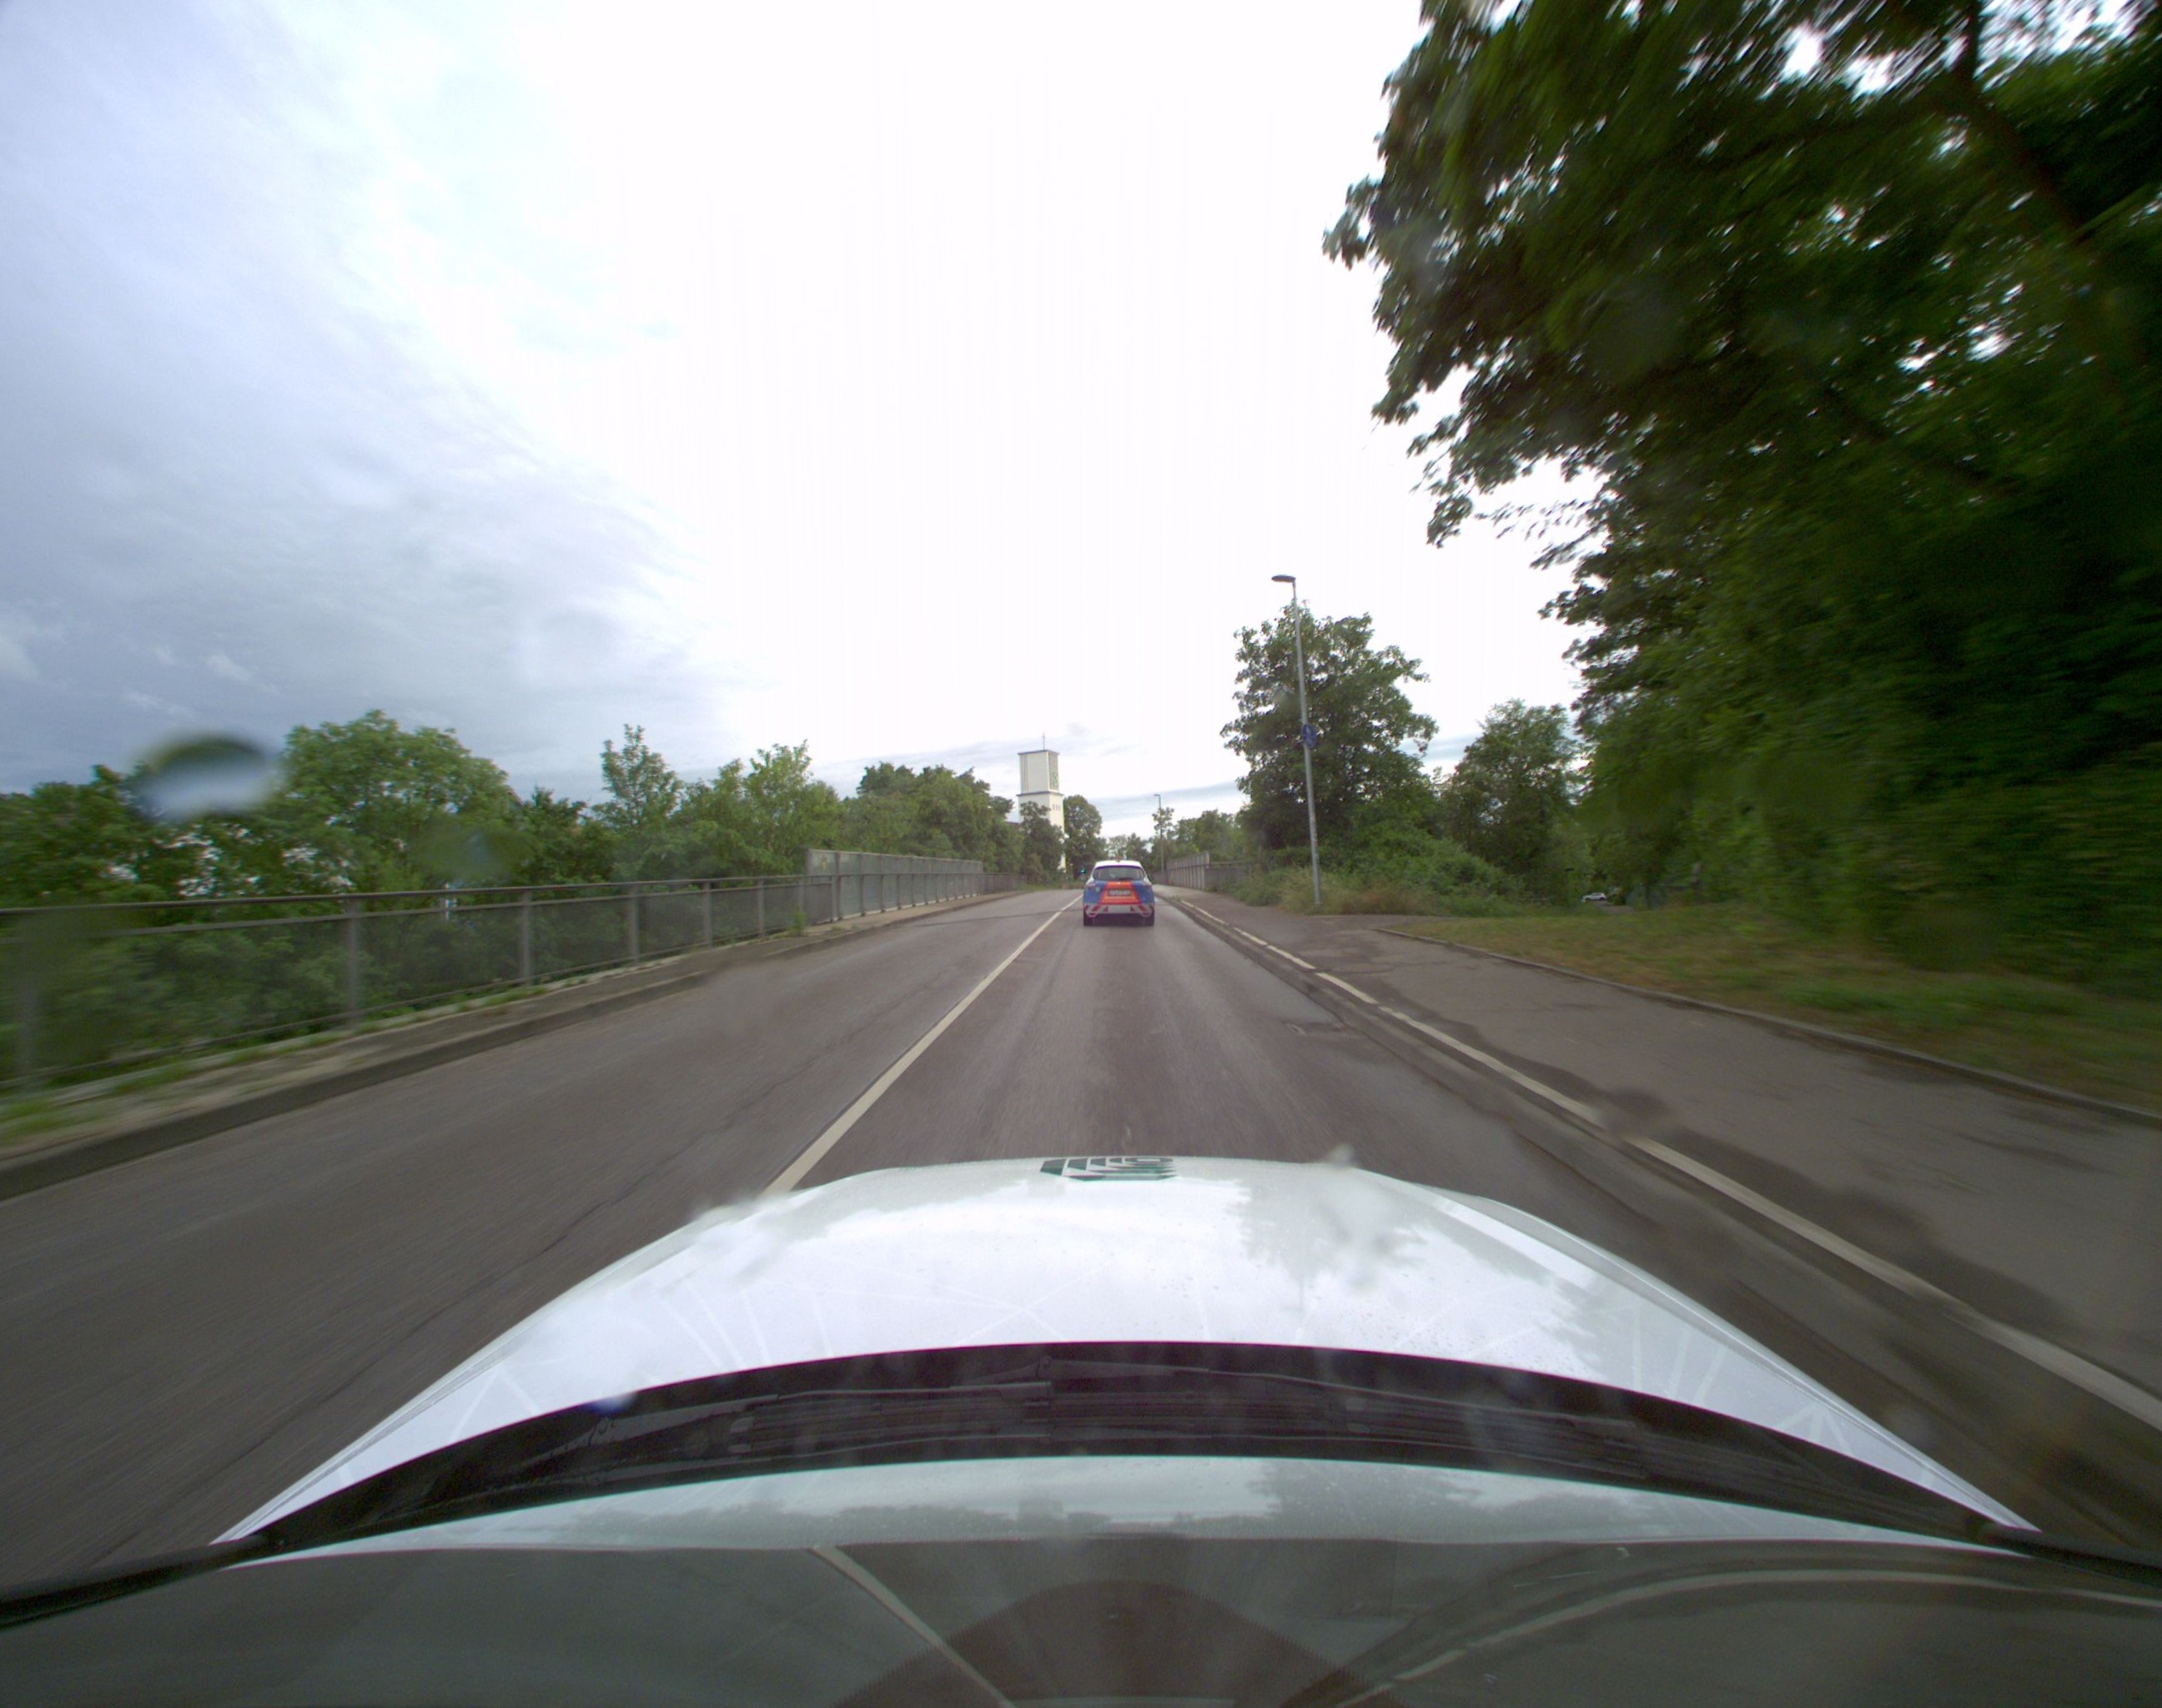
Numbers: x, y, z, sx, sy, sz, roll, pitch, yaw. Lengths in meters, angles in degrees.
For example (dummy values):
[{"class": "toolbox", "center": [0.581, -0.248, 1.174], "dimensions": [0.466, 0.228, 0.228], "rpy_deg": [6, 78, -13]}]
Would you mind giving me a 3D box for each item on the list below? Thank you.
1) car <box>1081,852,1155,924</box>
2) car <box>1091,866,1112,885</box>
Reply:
[{"class": "car", "center": [0.906, 0.802, 20.536], "dimensions": [1.651, 1.593, 3.569], "rpy_deg": [-2, -1, 2]}, {"class": "car", "center": [1.892, 2.019, 75.856], "dimensions": [1.797, 1.590, 3.561], "rpy_deg": [-3, 0, -1]}]
